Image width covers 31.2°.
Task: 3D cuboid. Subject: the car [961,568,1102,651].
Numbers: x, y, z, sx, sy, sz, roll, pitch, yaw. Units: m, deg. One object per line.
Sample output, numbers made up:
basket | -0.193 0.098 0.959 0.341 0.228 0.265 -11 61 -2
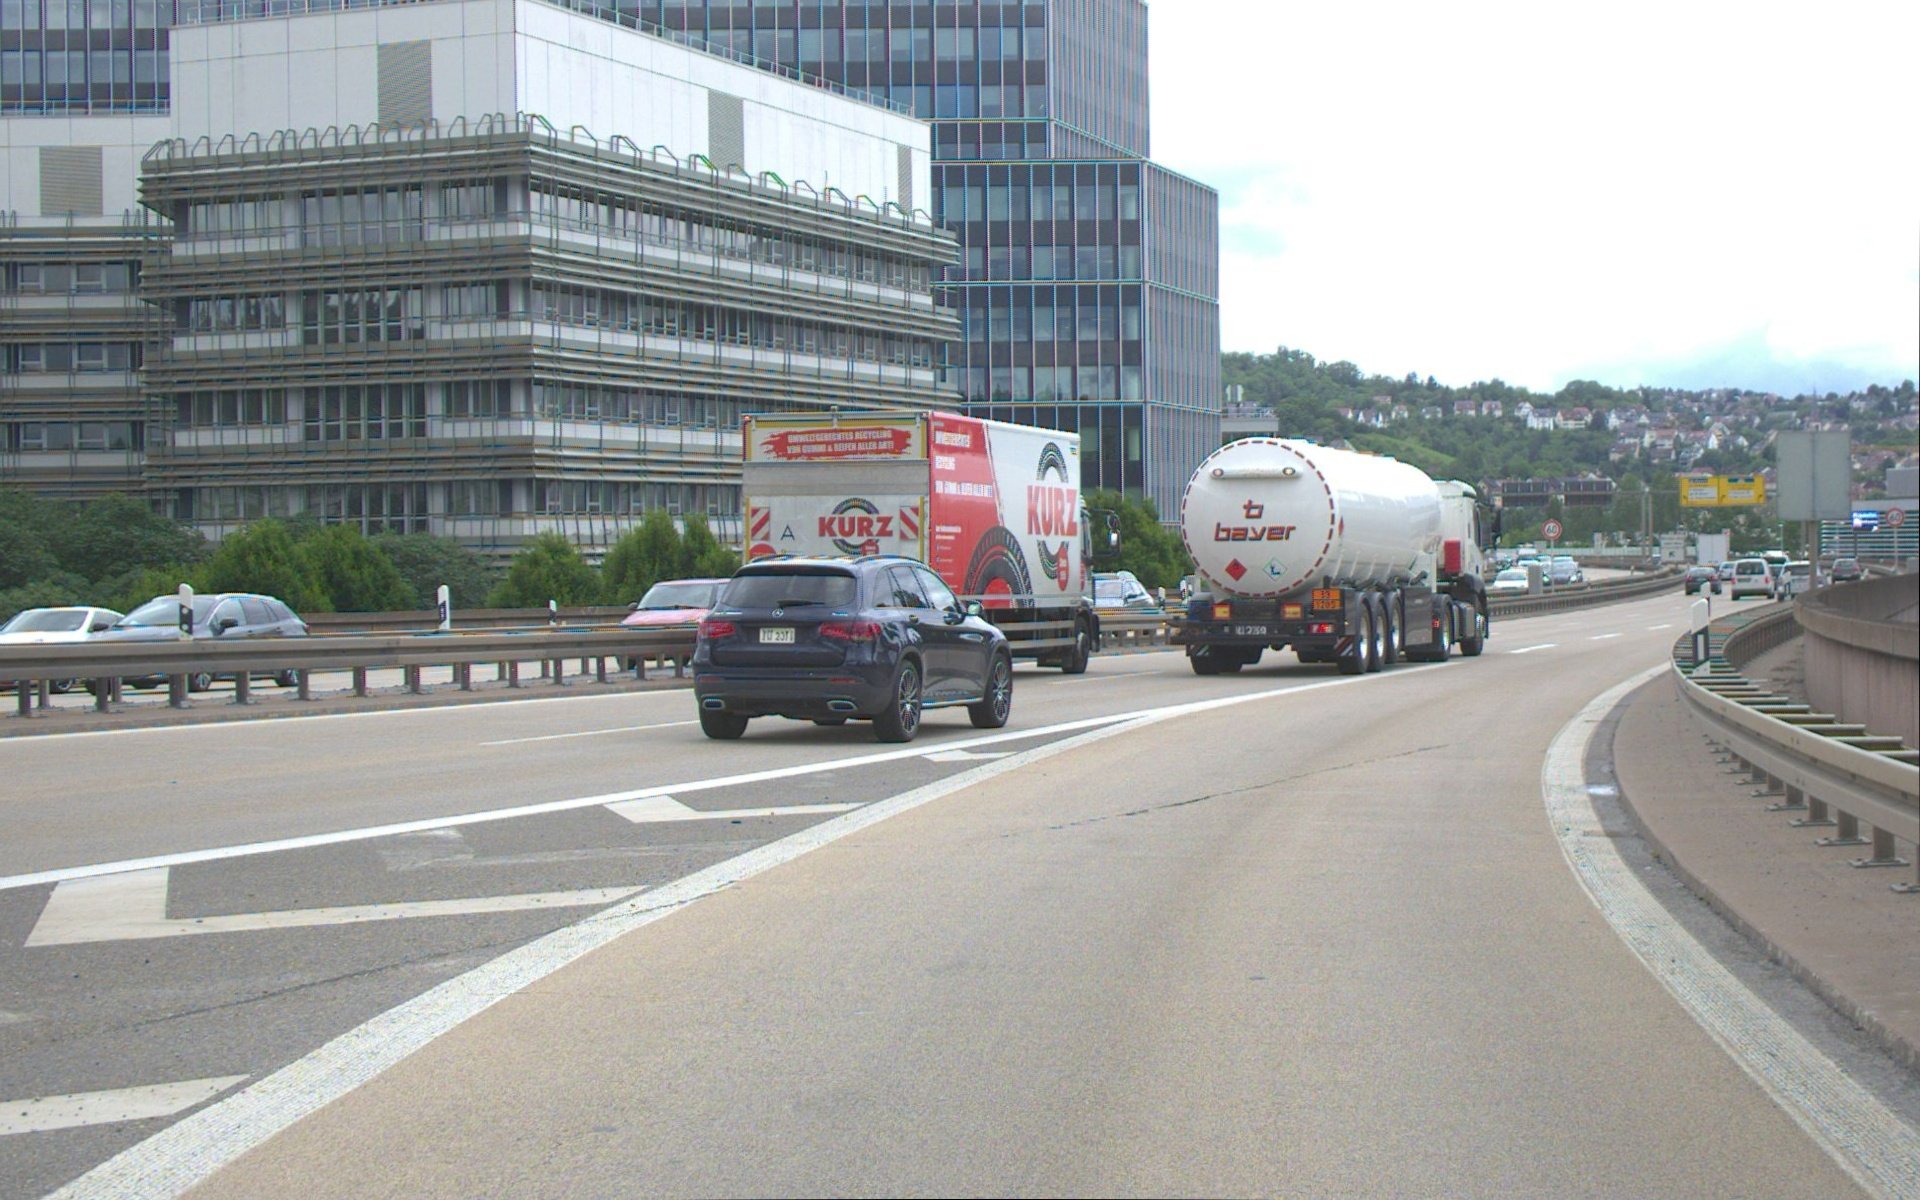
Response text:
car | 1.427 0.190 67.409 1.696 1.546 3.639 -2 -1 19

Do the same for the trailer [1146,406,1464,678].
trailer | 5.609 -0.897 53.606 2.794 3.725 11.146 -2 0 16

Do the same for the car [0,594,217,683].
car | -13.453 0.579 53.618 1.644 1.231 4.277 -2 0 19

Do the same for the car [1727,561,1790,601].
car | 35.790 -0.829 154.082 1.996 1.533 3.995 5 1 23

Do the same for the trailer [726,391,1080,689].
trailer | -0.619 -0.802 46.911 2.692 3.677 7.307 -2 0 16

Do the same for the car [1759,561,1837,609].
car | 31.475 -0.558 129.090 1.996 1.532 3.995 6 2 24

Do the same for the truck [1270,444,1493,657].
truck | 7.385 -0.852 59.578 2.771 3.418 5.960 -2 0 17

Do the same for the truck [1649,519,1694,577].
truck | 48.651 -3.548 234.934 2.396 3.880 5.938 -2 0 17

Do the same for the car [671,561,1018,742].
car | -0.959 0.418 31.213 1.848 1.499 4.262 1 1 17

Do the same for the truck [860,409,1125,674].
truck | 0.544 -0.852 50.895 2.693 3.677 4.436 -2 0 17
